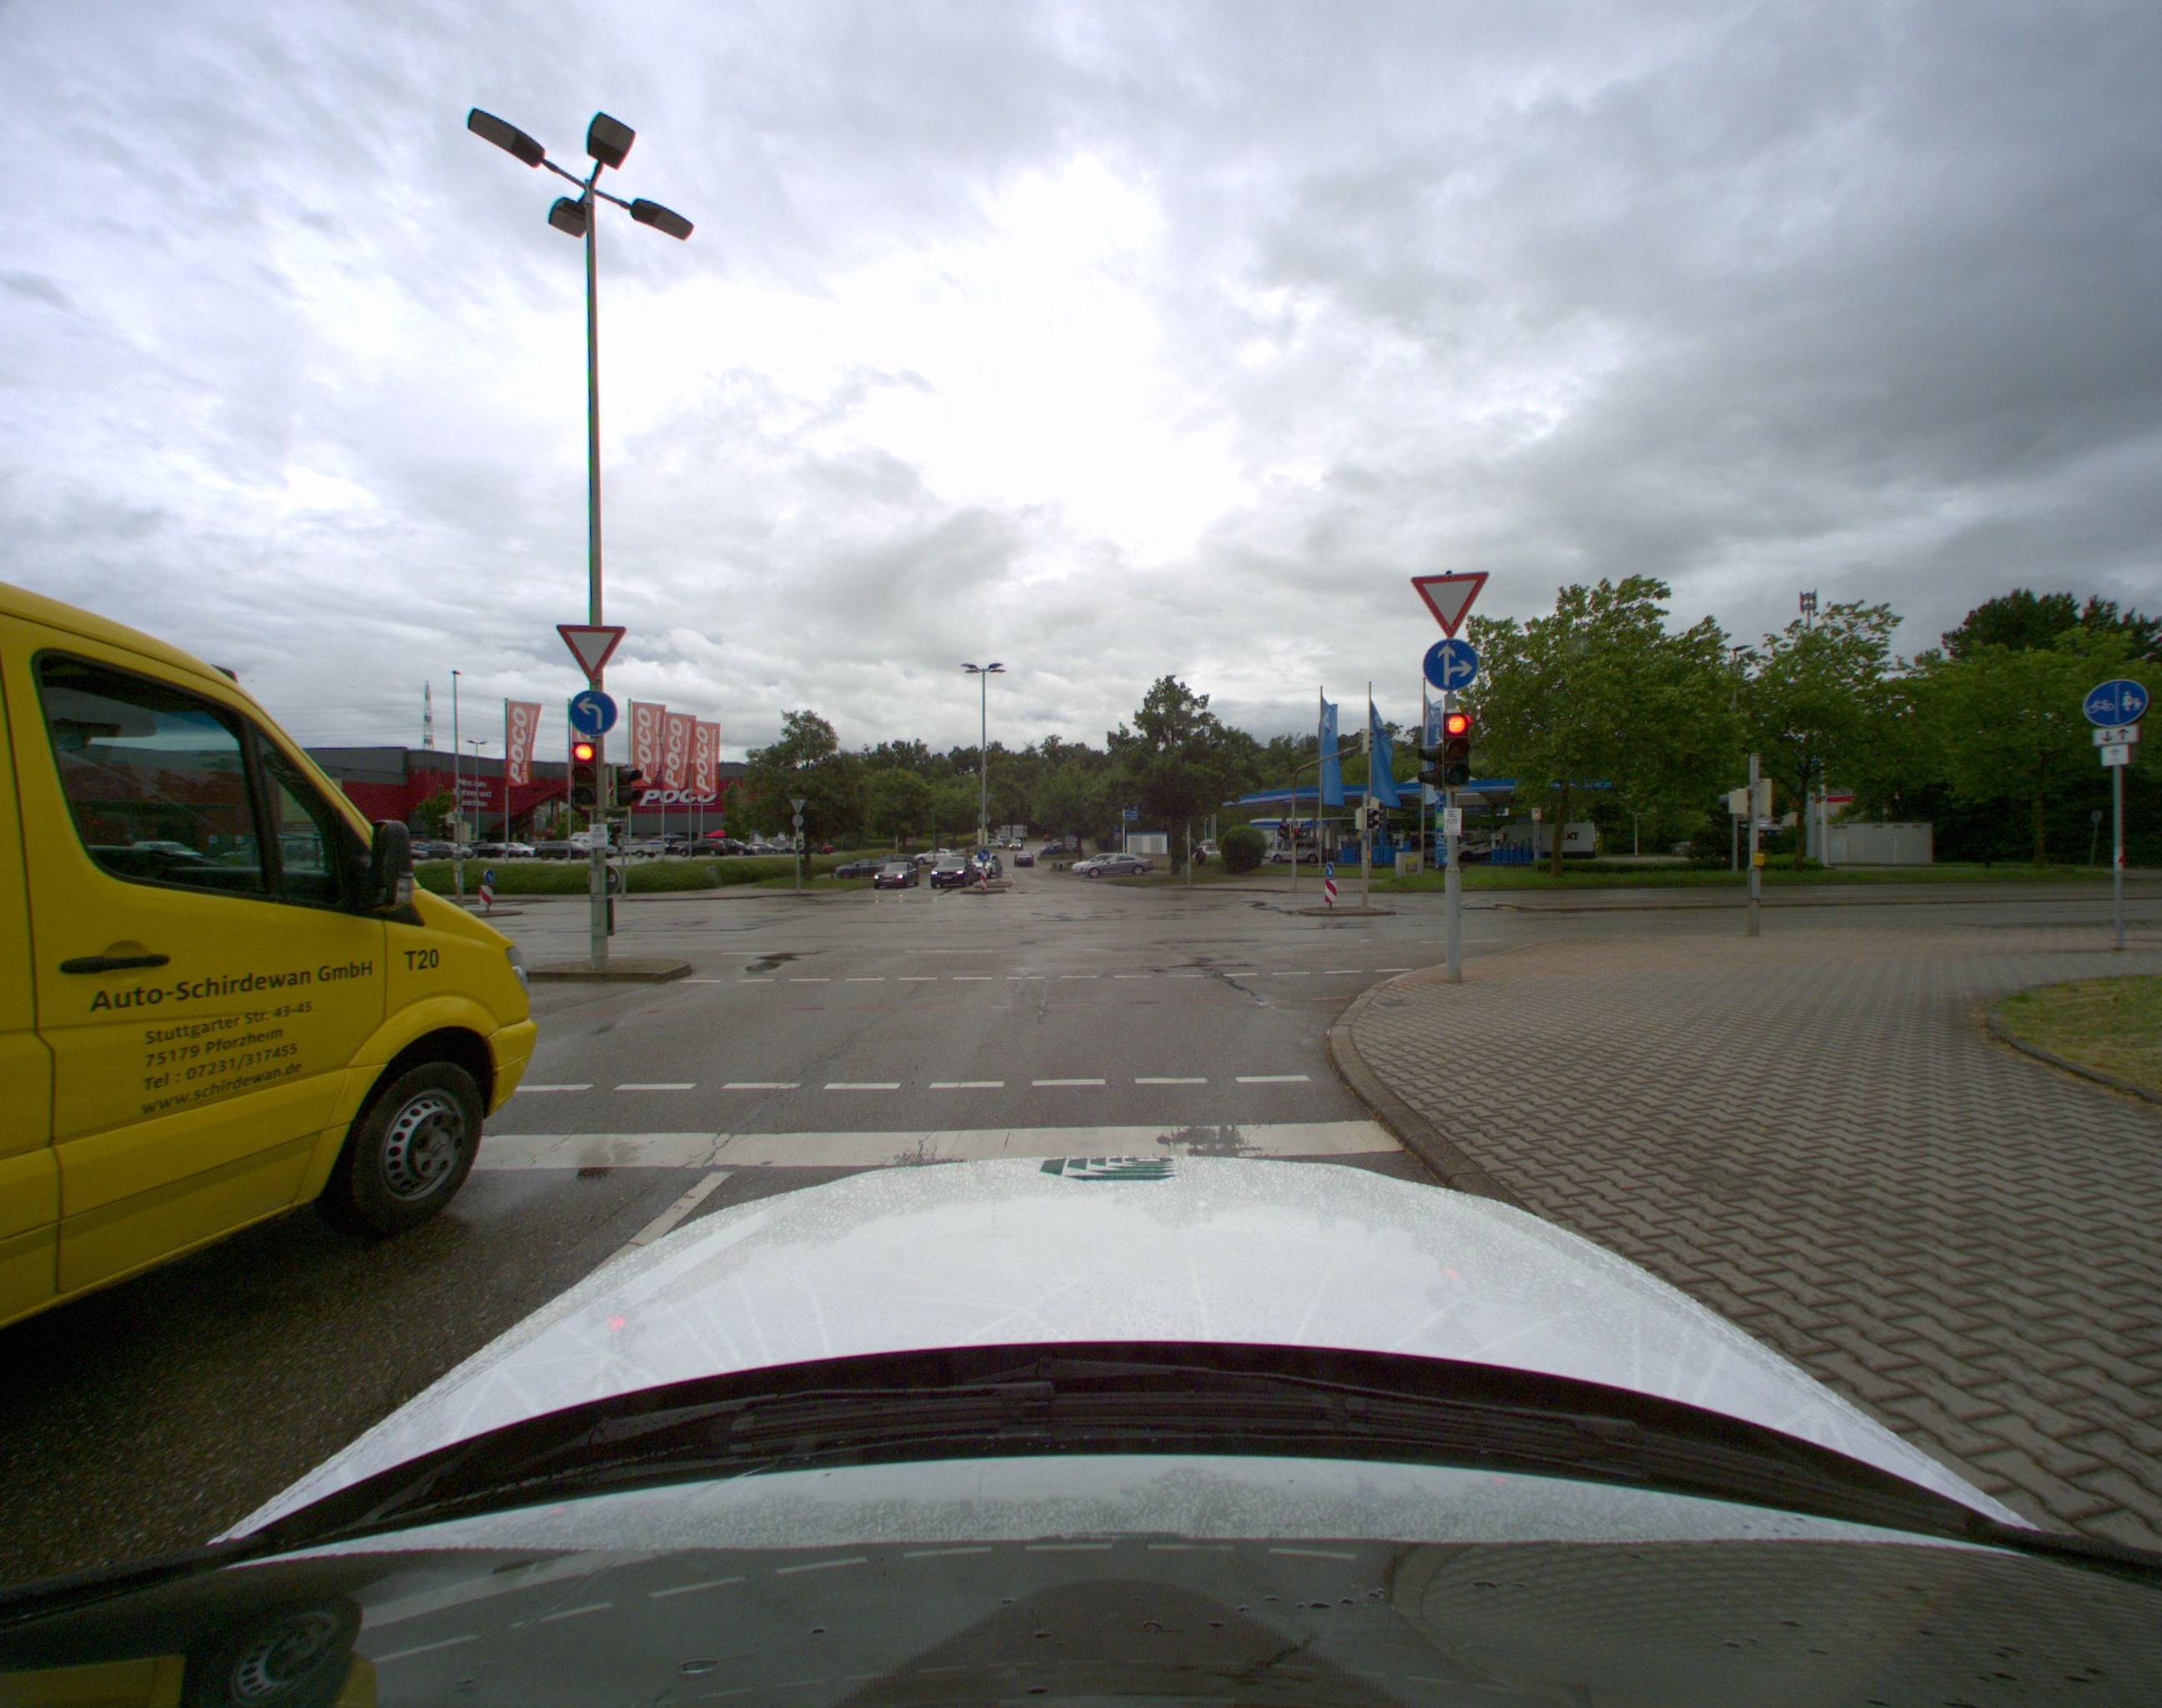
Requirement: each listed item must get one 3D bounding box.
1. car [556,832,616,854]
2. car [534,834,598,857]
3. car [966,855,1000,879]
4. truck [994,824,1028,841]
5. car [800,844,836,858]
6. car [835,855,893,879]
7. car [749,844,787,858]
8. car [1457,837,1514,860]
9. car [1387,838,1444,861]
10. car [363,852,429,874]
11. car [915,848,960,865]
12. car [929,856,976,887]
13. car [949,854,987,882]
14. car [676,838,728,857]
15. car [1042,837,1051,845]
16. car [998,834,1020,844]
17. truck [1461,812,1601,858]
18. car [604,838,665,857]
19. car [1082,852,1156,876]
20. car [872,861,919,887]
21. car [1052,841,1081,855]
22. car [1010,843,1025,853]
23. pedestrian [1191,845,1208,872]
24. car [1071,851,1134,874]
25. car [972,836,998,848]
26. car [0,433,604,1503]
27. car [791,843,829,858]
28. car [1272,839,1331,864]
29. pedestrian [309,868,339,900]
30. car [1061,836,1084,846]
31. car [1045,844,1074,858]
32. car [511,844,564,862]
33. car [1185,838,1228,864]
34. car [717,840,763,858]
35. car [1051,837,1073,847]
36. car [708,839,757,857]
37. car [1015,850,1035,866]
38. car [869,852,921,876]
[{"bbox_3d":[-39.405,-0.843,64.830,3.798,1.645,1.634,-1,-1,3],"label":"car"},{"bbox_3d":[-39.115,-0.607,61.839,3.798,1.645,1.674,-1,-1,3],"label":"car"},{"bbox_3d":[-6.694,0.858,56.006,1.890,1.553,3.998,-1,0,-1],"label":"car"},{"bbox_3d":[-16.312,-5.003,190.183,7.315,3.861,2.788,-1,-1,13],"label":"truck"},{"bbox_3d":[-31.929,-0.359,98.869,3.798,1.645,1.674,-1,-1,3],"label":"car"},{"bbox_3d":[-15.141,0.916,56.917,3.643,1.553,1.682,-1,-1,-5],"label":"car"},{"bbox_3d":[-37.020,-0.345,96.463,3.798,1.645,1.674,-1,-1,3],"label":"car"},{"bbox_3d":[29.008,-0.408,58.433,3.517,1.582,1.700,1,0,33],"label":"car"},{"bbox_3d":[26.755,-0.341,65.167,3.949,1.728,1.806,-2,-1,29],"label":"car"},{"bbox_3d":[-55.078,0.706,65.491,3.933,1.645,1.674,-1,-1,3],"label":"car"},{"bbox_3d":[-14.727,0.263,83.750,4.260,1.609,1.684,-1,-1,-2],"label":"car"},{"bbox_3d":[-6.942,0.919,44.302,1.890,1.553,4.589,-1,0,-1],"label":"car"},{"bbox_3d":[-6.993,0.878,50.778,1.790,1.633,4.550,-1,-1,-1],"label":"car"},{"bbox_3d":[-33.429,-0.568,71.820,3.798,1.645,1.674,-1,-1,3],"label":"car"},{"bbox_3d":[-7.610,-2.844,179.649,1.800,1.739,3.996,-1,0,-3],"label":"car"},{"bbox_3d":[-13.883,-2.938,157.194,3.974,1.794,1.856,-1,-1,0],"label":"car"},{"bbox_3d":[29.038,-1.177,52.894,7.774,2.675,2.168,-1,-1,27],"label":"truck"},{"bbox_3d":[-35.466,-0.521,64.766,3.880,1.381,1.674,-1,-1,3],"label":"car"},{"bbox_3d":[2.592,0.678,56.575,4.878,1.549,1.996,-1,-1,-5],"label":"car"},{"bbox_3d":[-10.355,1.085,45.677,1.778,1.404,3.998,-1,0,-1],"label":"car"},{"bbox_3d":[-1.844,-0.815,104.571,3.690,1.750,1.695,0,-1,-4],"label":"car"},{"bbox_3d":[-9.769,-0.885,125.221,1.689,1.456,3.679,-1,-1,6],"label":"car"},{"bbox_3d":[7.494,0.303,51.438,0.809,1.661,0.883,-1,-1,-12],"label":"pedestrian"},{"bbox_3d":[1.596,0.636,61.886,4.565,1.589,1.926,-1,-1,-5],"label":"car"},{"bbox_3d":[-14.884,-1.873,126.593,3.980,1.794,1.853,-1,-1,-5],"label":"car"},{"bbox_3d":[-3.619,0.273,1.727,2.232,2.474,5.014,-1,-1,0],"label":"car"},{"bbox_3d":[-31.967,-0.381,96.082,3.798,1.645,1.674,-1,-1,3],"label":"car"},{"bbox_3d":[17.482,-0.187,64.723,4.075,1.808,1.958,-3,-2,31],"label":"car"},{"bbox_3d":[-34.348,1.372,36.953,0.637,1.431,0.781,-1,-1,-1],"label":"pedestrian"},{"bbox_3d":[-1.579,-2.314,144.628,3.979,1.739,1.808,-1,-1,-4],"label":"car"},{"bbox_3d":[-2.601,-0.336,98.050,3.452,1.654,1.614,0,-1,-3],"label":"car"},{"bbox_3d":[-51.727,-0.101,77.506,3.933,1.645,1.674,-1,-1,3],"label":"car"},{"bbox_3d":[9.261,-0.204,60.286,1.811,1.797,3.681,0,-1,-15],"label":"car"},{"bbox_3d":[-33.299,-0.505,79.536,3.798,1.645,1.674,-1,-1,3],"label":"car"},{"bbox_3d":[-3.590,-2.232,152.110,3.979,1.739,1.808,-1,-1,-4],"label":"car"},{"bbox_3d":[-32.860,-0.531,76.807,3.798,1.645,1.674,-1,-1,3],"label":"car"},{"bbox_3d":[-5.388,0.414,79.181,1.803,1.482,3.747,-1,0,-3],"label":"car"},{"bbox_3d":[-14.218,0.762,62.523,3.643,1.724,1.682,-1,-1,-5],"label":"car"}]
